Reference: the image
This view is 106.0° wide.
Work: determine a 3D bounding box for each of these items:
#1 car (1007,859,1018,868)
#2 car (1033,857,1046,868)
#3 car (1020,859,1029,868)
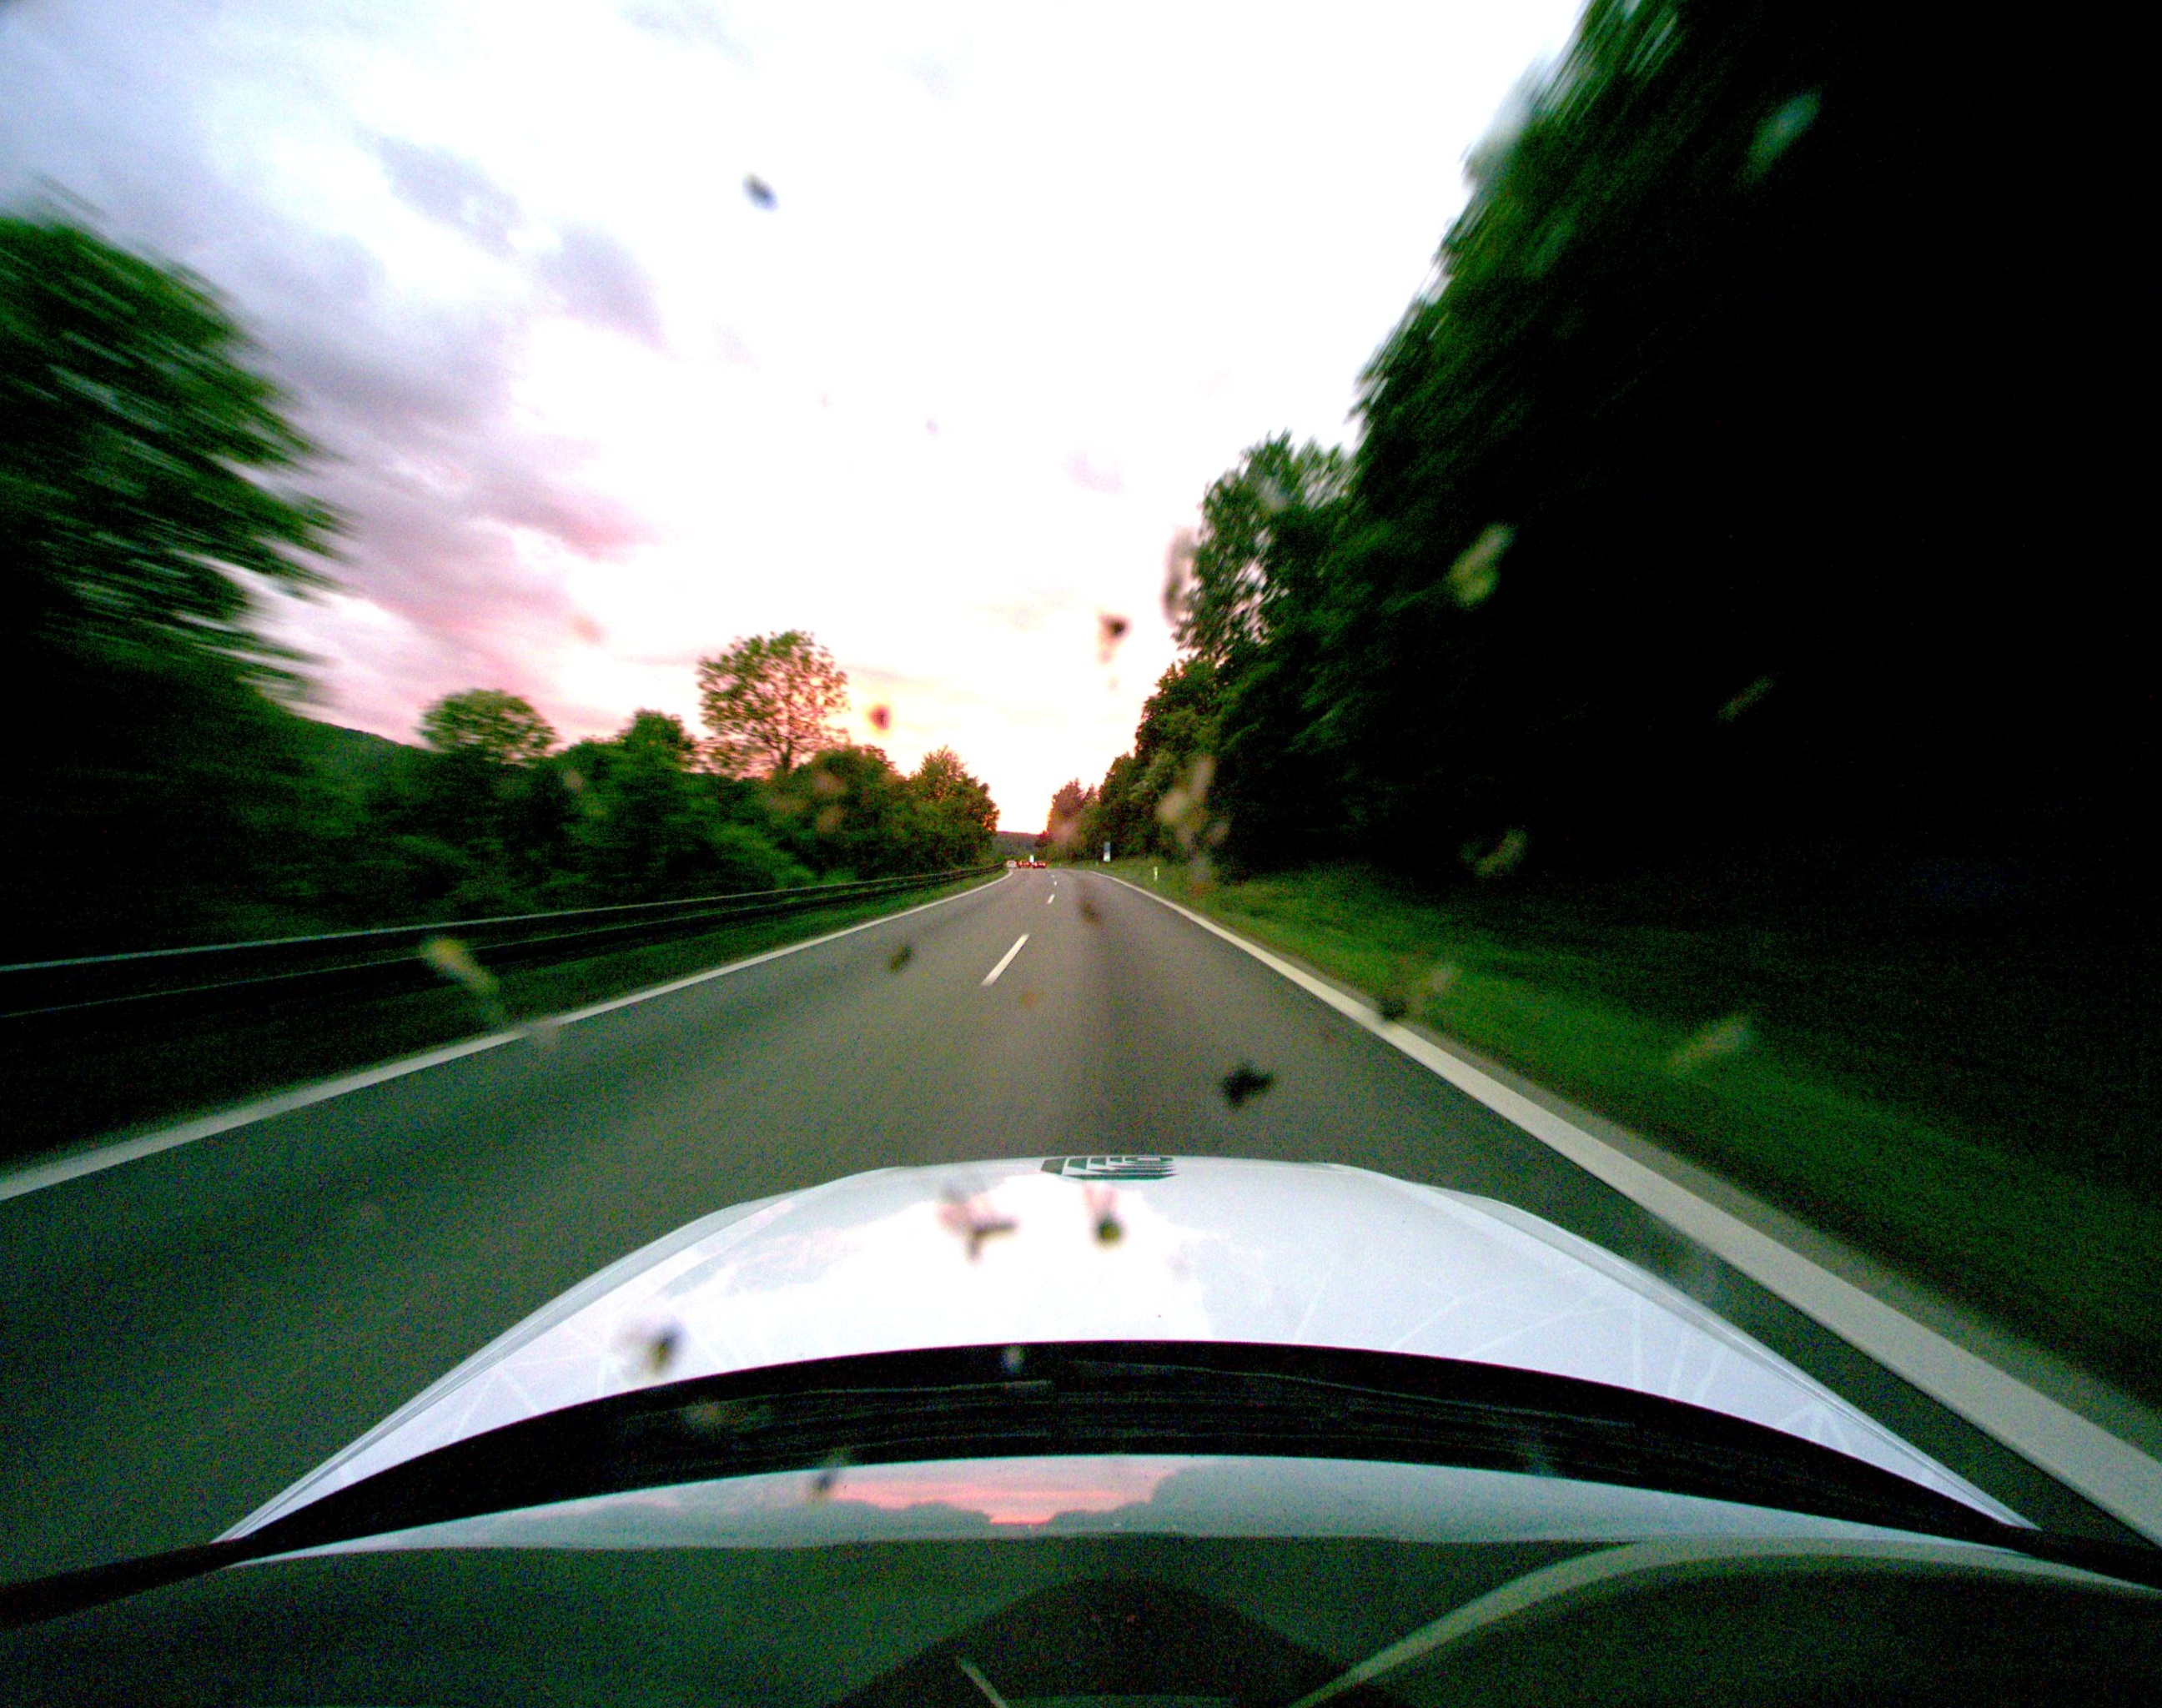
[{"bbox_3d":[-12.443,1.779,148.055,1.714,1.501,3.996,0,-2,-2],"label":"car"},{"bbox_3d":[-7.081,1.515,138.646,1.990,1.646,3.992,2,-4,-5],"label":"car"},{"bbox_3d":[-11.008,1.899,158.112,1.715,1.635,3.994,-2,-1,-4],"label":"car"}]
